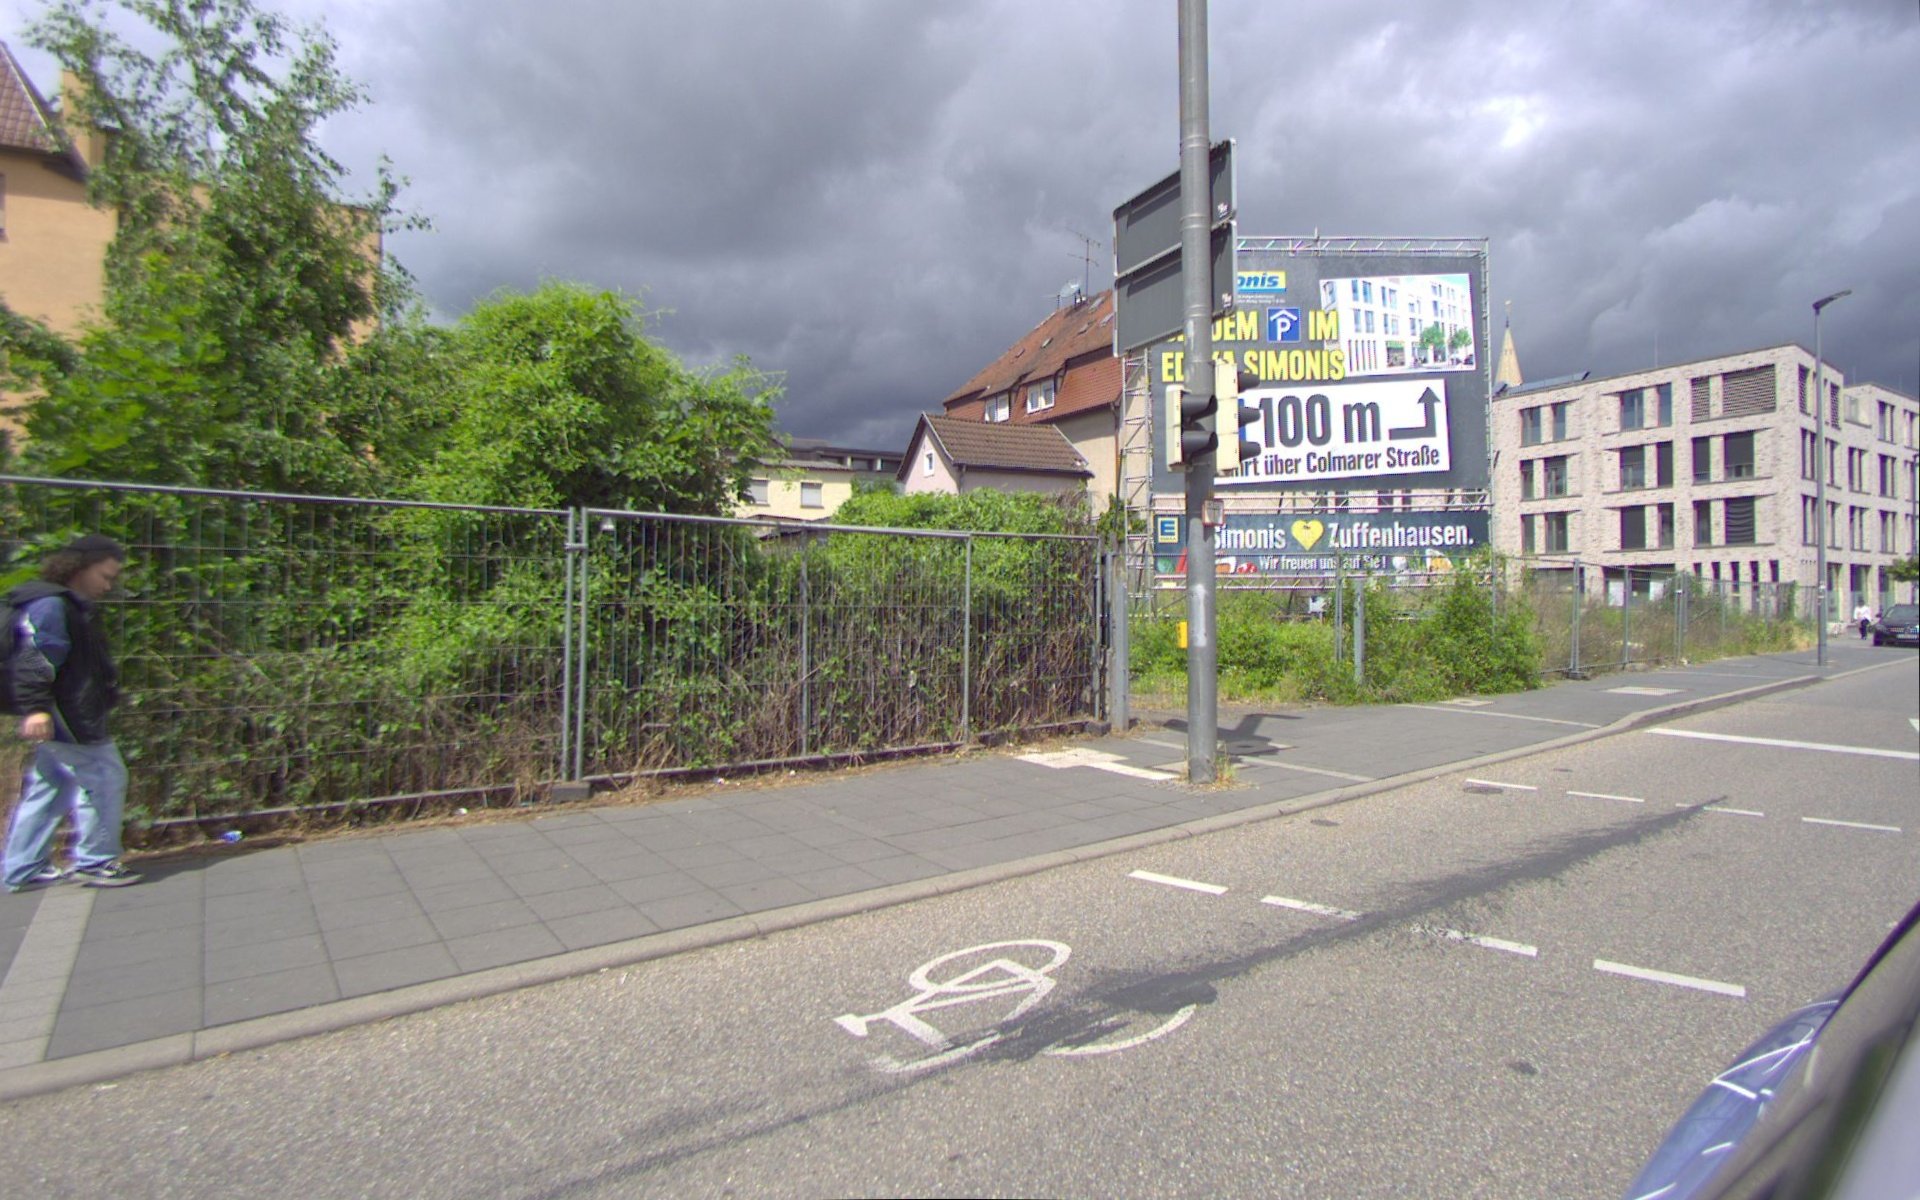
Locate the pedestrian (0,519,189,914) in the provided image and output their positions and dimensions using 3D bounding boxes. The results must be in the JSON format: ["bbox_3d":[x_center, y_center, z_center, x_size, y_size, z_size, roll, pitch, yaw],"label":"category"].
[{"bbox_3d":[-4.113,0.486,4.650,0.762,1.663,0.768,2,0,-29],"label":"pedestrian"}]

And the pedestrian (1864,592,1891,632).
[{"bbox_3d":[35.417,0.449,39.070,0.769,1.531,0.673,1,0,-41],"label":"pedestrian"}]

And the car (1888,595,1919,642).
[{"bbox_3d":[32.723,0.609,34.016,3.726,1.441,1.678,-1,2,-39],"label":"car"}]
